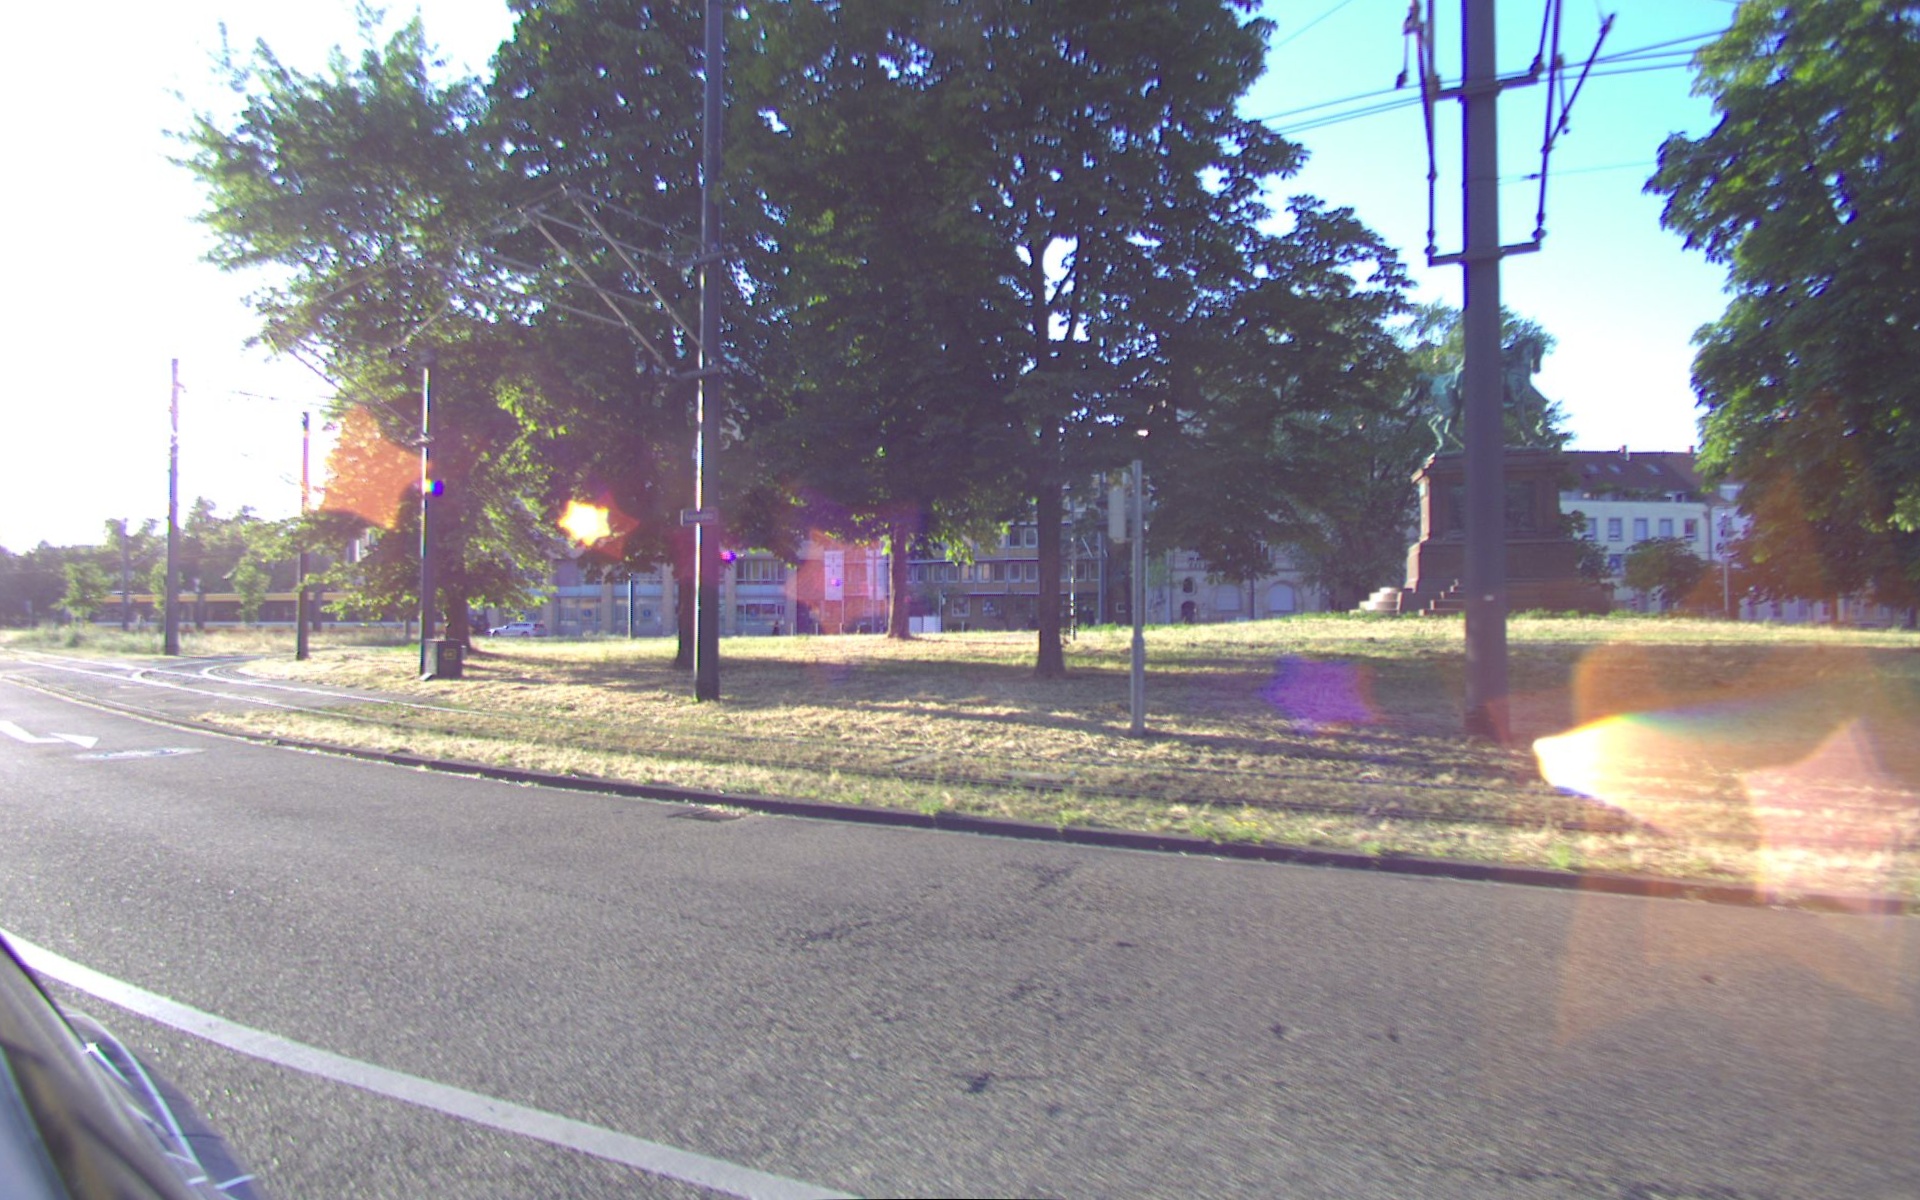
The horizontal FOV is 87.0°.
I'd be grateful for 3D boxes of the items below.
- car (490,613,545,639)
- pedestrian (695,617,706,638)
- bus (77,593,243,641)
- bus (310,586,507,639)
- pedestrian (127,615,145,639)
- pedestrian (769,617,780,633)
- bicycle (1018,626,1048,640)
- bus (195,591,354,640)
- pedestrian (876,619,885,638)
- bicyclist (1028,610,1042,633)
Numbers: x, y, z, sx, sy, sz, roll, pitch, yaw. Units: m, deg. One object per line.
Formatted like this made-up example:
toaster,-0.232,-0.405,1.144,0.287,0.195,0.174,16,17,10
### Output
car,-36.907,2.171,84.427,3.868,2.029,1.850,-1,0,10
pedestrian,-21.447,2.238,83.628,0.614,1.705,0.527,-1,-1,23
bus,-61.769,1.324,78.151,12.021,3.482,3.742,-1,0,16
bus,-39.160,0.917,71.851,13.587,3.388,3.742,-1,0,16
pedestrian,-49.992,1.629,61.414,0.698,1.470,0.664,-1,-1,36
pedestrian,-14.995,2.029,81.862,0.676,1.334,0.566,-1,0,8
bicycle,5.470,2.461,76.170,2.167,1.018,0.473,-1,-1,-6
bus,-50.837,1.143,75.097,10.636,3.356,3.743,-1,0,15
pedestrian,-6.341,2.276,81.081,0.570,1.550,0.564,-1,-1,13
bicyclist,5.636,1.634,76.197,0.884,1.703,0.955,-1,-1,-7
